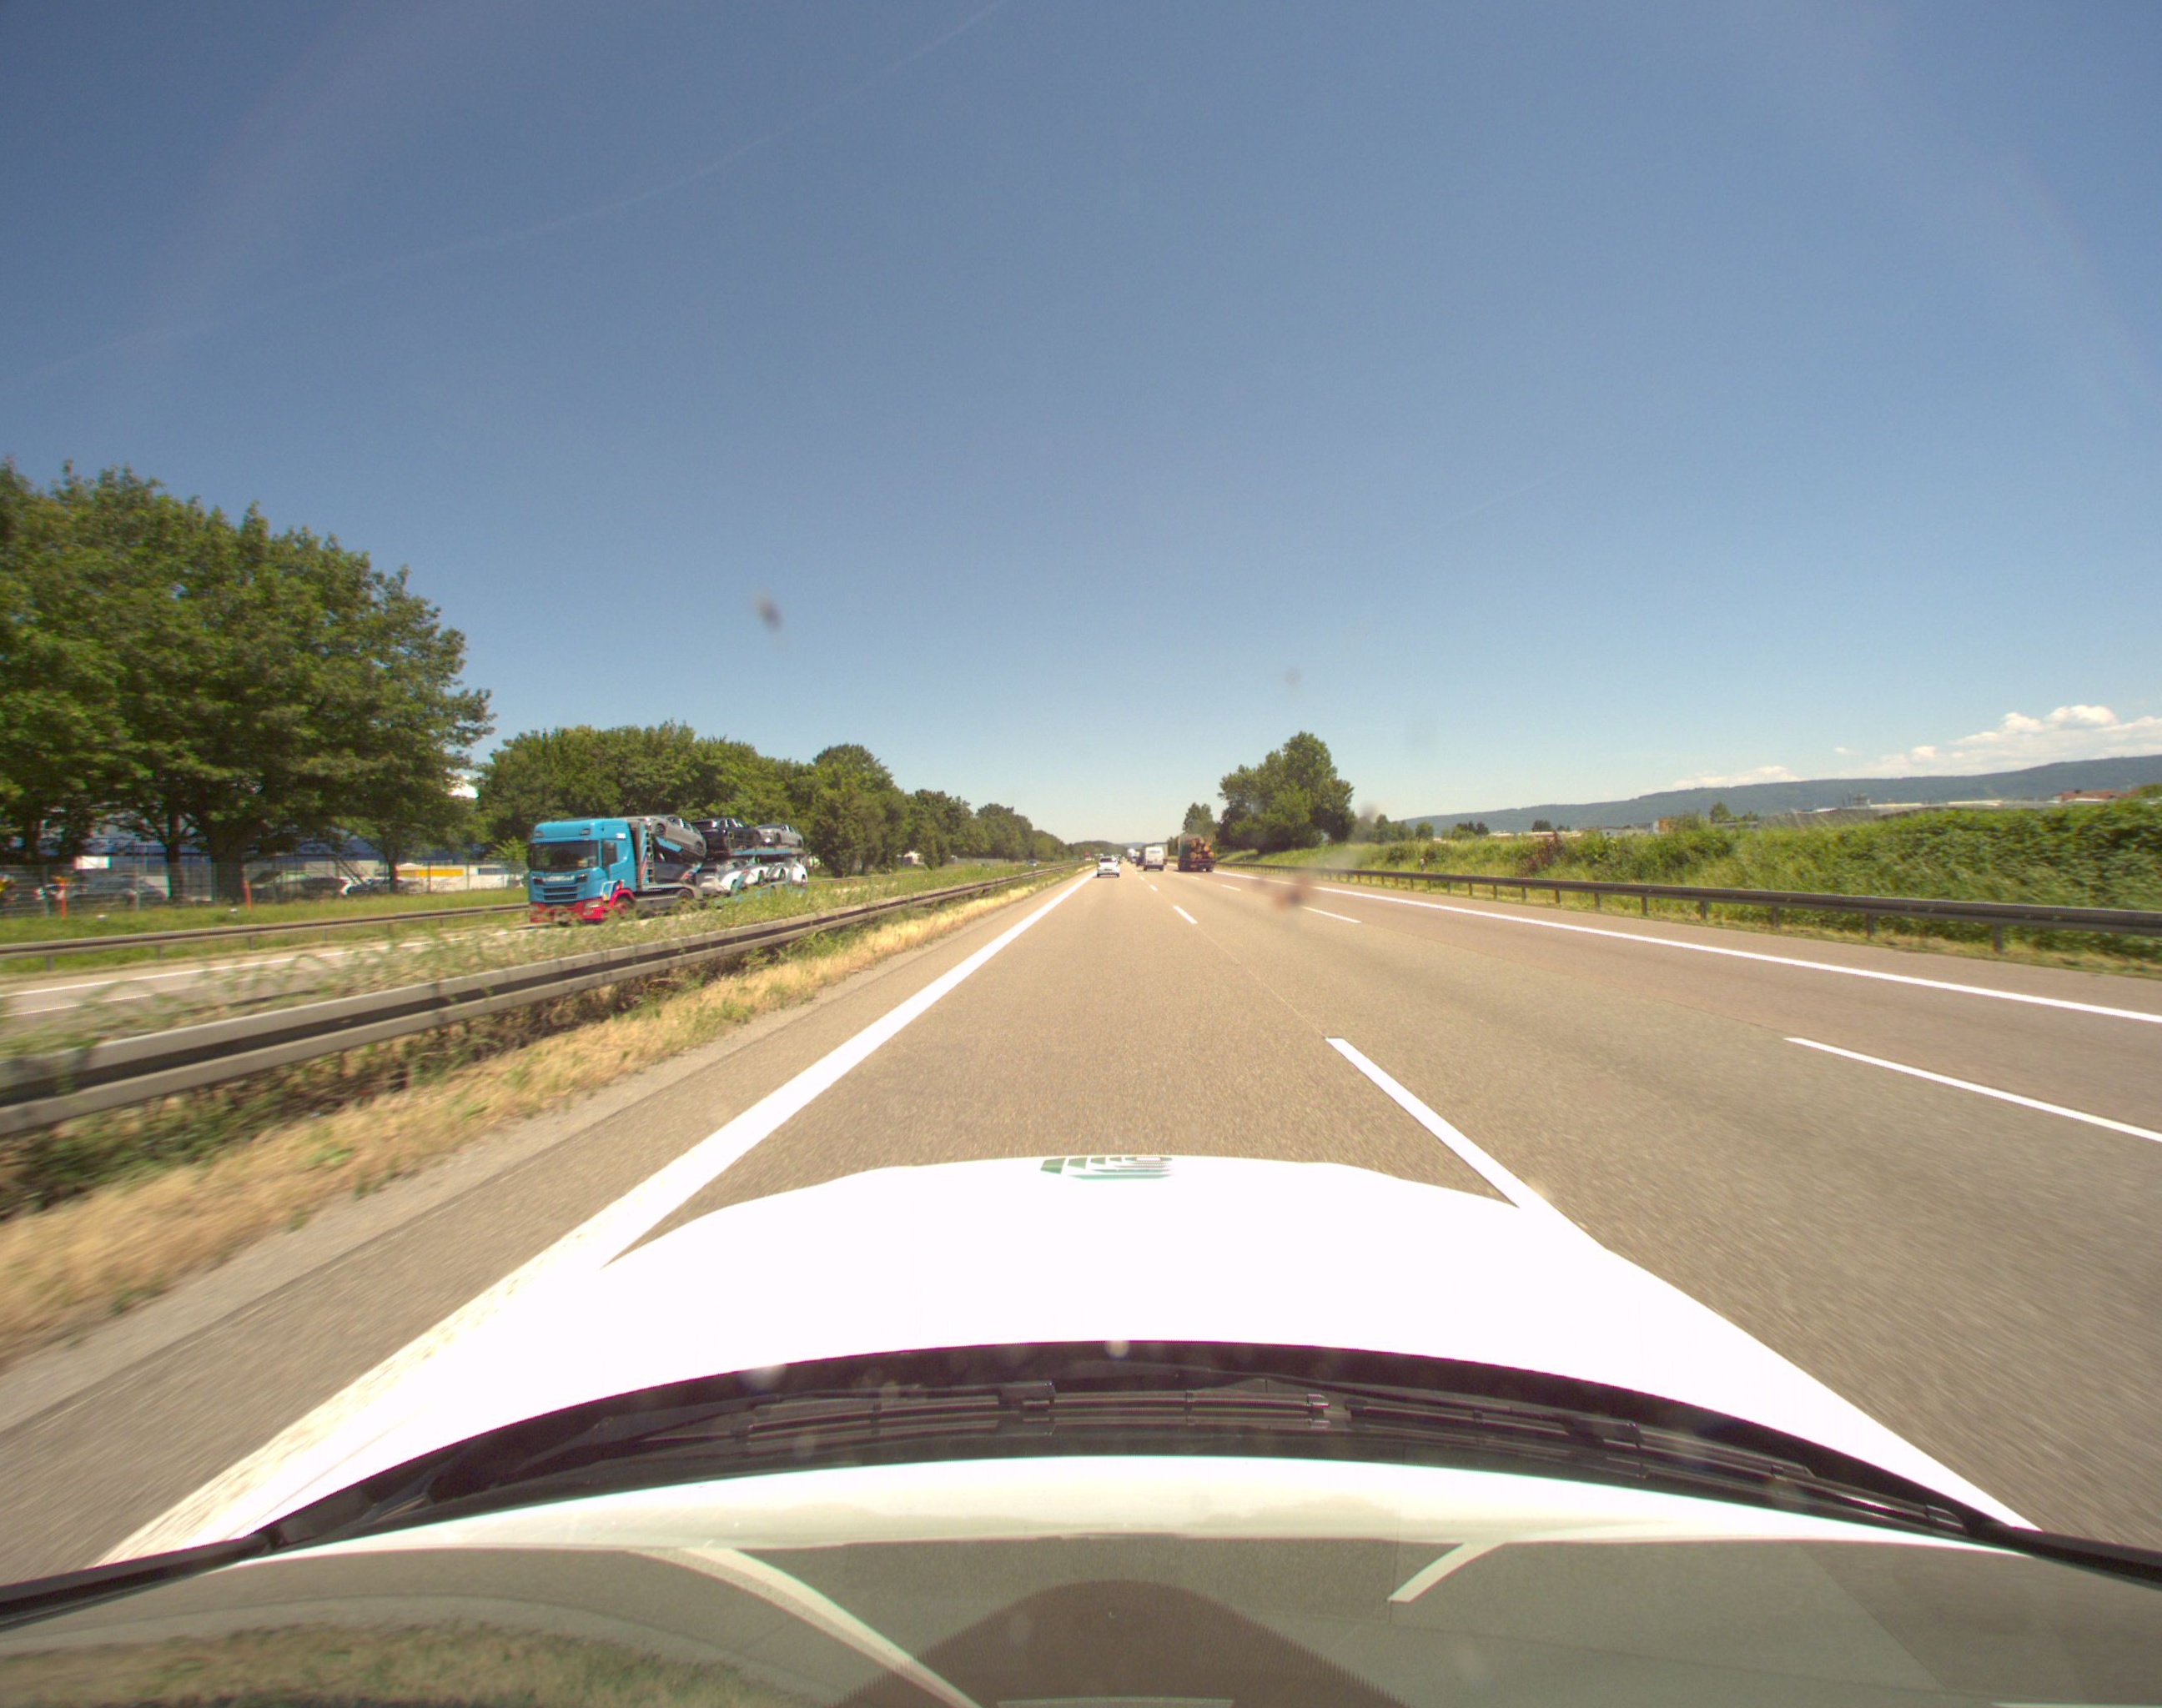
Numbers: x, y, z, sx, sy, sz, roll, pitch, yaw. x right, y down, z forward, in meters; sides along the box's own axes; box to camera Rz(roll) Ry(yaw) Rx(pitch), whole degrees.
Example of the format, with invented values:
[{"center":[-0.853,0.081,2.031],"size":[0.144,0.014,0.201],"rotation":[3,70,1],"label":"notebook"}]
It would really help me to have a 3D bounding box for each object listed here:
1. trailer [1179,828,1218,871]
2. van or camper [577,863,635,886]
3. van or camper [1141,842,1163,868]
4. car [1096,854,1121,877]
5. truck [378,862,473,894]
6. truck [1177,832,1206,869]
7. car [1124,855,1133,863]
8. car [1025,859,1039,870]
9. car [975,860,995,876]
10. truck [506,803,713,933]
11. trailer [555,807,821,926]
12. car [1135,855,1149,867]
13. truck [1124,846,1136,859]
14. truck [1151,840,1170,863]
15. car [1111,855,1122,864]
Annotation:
[{"center":[11.790,-0.394,82.758],"size":[2.642,3.958,13.646],"rotation":[0,0,3],"label":"trailer"},{"center":[-58.107,2.455,99.767],"size":[2.349,2.552,7.727],"rotation":[-2,0,1],"label":"van or camper"},{"center":[7.589,0.116,87.349],"size":[2.050,2.622,5.989],"rotation":[-1,0,3],"label":"van or camper"},{"center":[2.055,0.843,61.433],"size":[1.850,1.652,4.001],"rotation":[0,0,1],"label":"car"},{"center":[-73.387,2.648,91.490],"size":[3.535,3.191,8.302],"rotation":[-3,0,3],"label":"truck"},{"center":[12.154,-0.356,90.049],"size":[2.659,3.994,6.641],"rotation":[0,0,3],"label":"truck"},{"center":[9.829,1.042,168.429],"size":[1.850,1.652,4.001],"rotation":[0,0,1],"label":"car"},{"center":[-7.503,1.654,125.558],"size":[1.786,1.578,4.213],"rotation":[-2,0,1],"label":"car"},{"center":[-12.568,1.871,106.701],"size":[1.986,2.014,4.274],"rotation":[0,0,2],"label":"car"},{"center":[-16.823,0.448,29.866],"size":[2.868,3.975,7.375],"rotation":[-4,0,2],"label":"truck"},{"center":[-16.534,0.466,37.198],"size":[2.868,3.978,17.482],"rotation":[-4,0,2],"label":"trailer"},{"center":[8.980,1.030,120.295],"size":[1.850,1.652,4.001],"rotation":[0,0,1],"label":"car"},{"center":[15.793,-0.472,263.037],"size":[3.247,4.209,16.842],"rotation":[0,0,1],"label":"truck"},{"center":[15.253,-0.435,156.915],"size":[3.066,4.209,16.858],"rotation":[0,0,3],"label":"truck"},{"center":[6.598,0.956,151.031],"size":[1.850,1.652,4.001],"rotation":[0,0,1],"label":"car"}]
